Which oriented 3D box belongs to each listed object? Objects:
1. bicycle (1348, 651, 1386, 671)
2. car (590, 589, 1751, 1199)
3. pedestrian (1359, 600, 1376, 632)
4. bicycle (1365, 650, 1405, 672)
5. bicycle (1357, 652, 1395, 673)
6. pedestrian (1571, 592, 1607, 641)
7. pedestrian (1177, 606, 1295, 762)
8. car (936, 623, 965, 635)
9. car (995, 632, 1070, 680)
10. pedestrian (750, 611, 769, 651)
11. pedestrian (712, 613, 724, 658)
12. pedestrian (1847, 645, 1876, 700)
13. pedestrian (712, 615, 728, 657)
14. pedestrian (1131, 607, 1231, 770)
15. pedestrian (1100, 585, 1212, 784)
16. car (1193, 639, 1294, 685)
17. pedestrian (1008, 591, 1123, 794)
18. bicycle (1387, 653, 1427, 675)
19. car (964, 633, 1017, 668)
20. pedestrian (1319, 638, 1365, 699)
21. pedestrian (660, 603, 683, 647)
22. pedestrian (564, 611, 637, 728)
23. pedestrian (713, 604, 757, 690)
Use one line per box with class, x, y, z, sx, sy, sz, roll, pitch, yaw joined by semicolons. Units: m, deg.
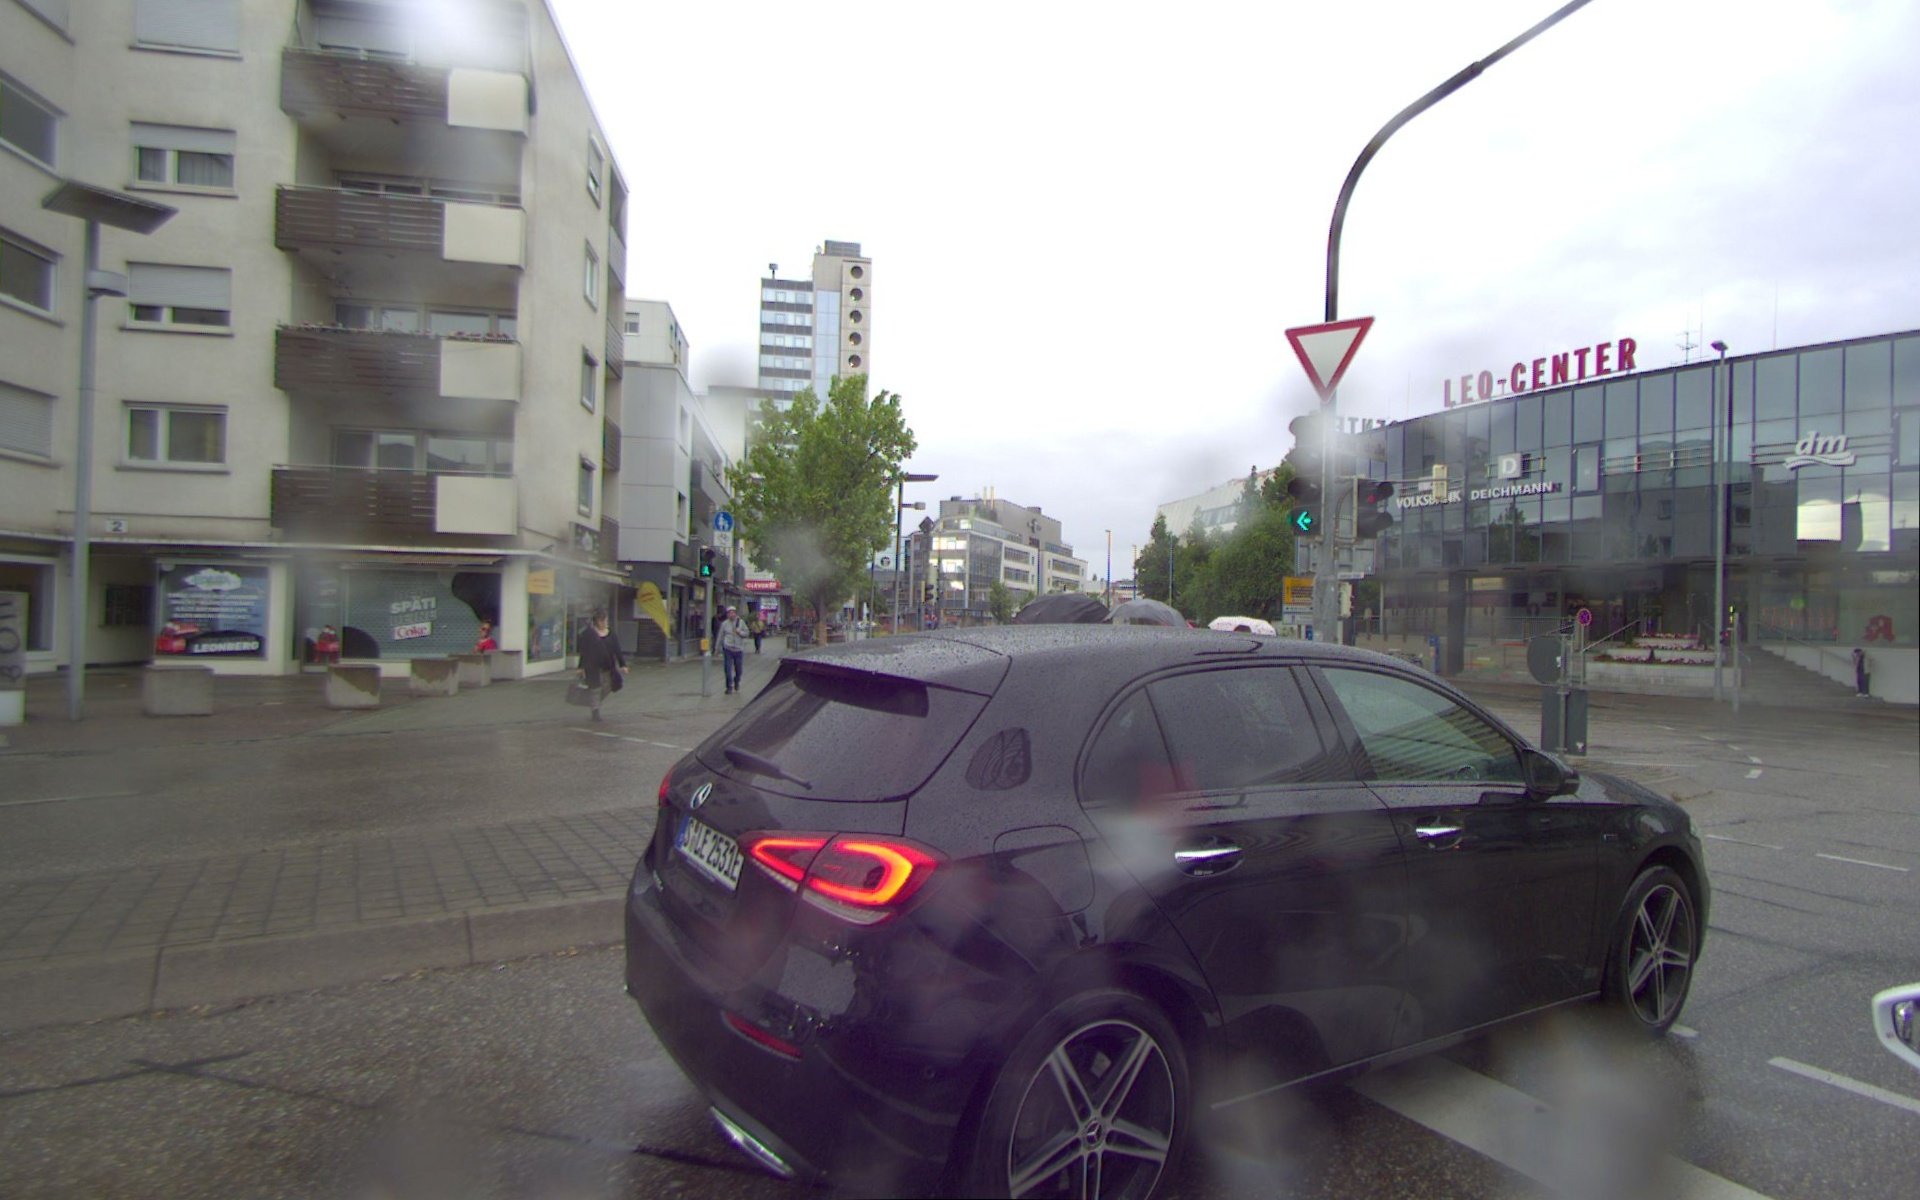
bicycle;21.522;3.225;53.112;1.821;0.964;0.535;-1;0;-9
car;0.977;0.775;3.587;4.050;1.501;1.653;1;1;-33
pedestrian;23.028;0.892;56.762;0.642;1.736;0.599;3;0;-7
bicycle;21.882;3.129;51.706;1.822;1.056;0.646;-1;-1;-13
bicycle;21.719;3.252;52.443;1.822;1.047;0.627;-1;-1;-13
pedestrian;27.472;0.713;43.879;0.936;2.040;0.830;3;0;-12
pedestrian;3.193;0.943;11.651;0.906;1.699;0.930;3;-2;-31
car;-1.339;4.096;142.711;3.825;1.538;1.781;2;0;-12
car;2.413;1.888;34.888;2.082;1.432;5.146;3;-2;-1
pedestrian;-9.533;1.469;47.772;0.859;1.835;0.923;2;-1;-11
pedestrian;-9.626;1.413;39.959;0.441;1.746;0.499;2;-1;-13
pedestrian;32.582;2.625;36.284;0.590;1.933;0.650;3;-1;-38
pedestrian;-10.569;1.591;44.165;0.557;1.817;0.491;2;-1;-5
pedestrian;2.414;0.947;10.980;0.796;1.707;0.669;3;-2;-26
pedestrian;1.846;0.774;9.634;0.843;1.767;1.139;2;-1;2
car;10.338;2.245;36.889;1.718;1.460;3.979;2;-1;-16
pedestrian;0.949;0.826;9.245;0.935;1.759;0.837;2;-2;1
bicycle;22.300;3.180;50.128;1.822;1.036;0.631;0;-1;-13
car;1.246;2.110;42.558;1.415;1.314;3.769;2;-1;-11
pedestrian;10.677;1.898;28.106;0.794;1.644;0.950;2;-2;-10
pedestrian;-13.491;1.169;46.982;0.859;2.040;0.923;2;-1;-11
pedestrian;-5.139;0.977;14.332;0.901;1.606;0.654;2;-2;-23
pedestrian;-4.510;0.933;20.160;0.801;1.677;0.713;2;-2;-12
